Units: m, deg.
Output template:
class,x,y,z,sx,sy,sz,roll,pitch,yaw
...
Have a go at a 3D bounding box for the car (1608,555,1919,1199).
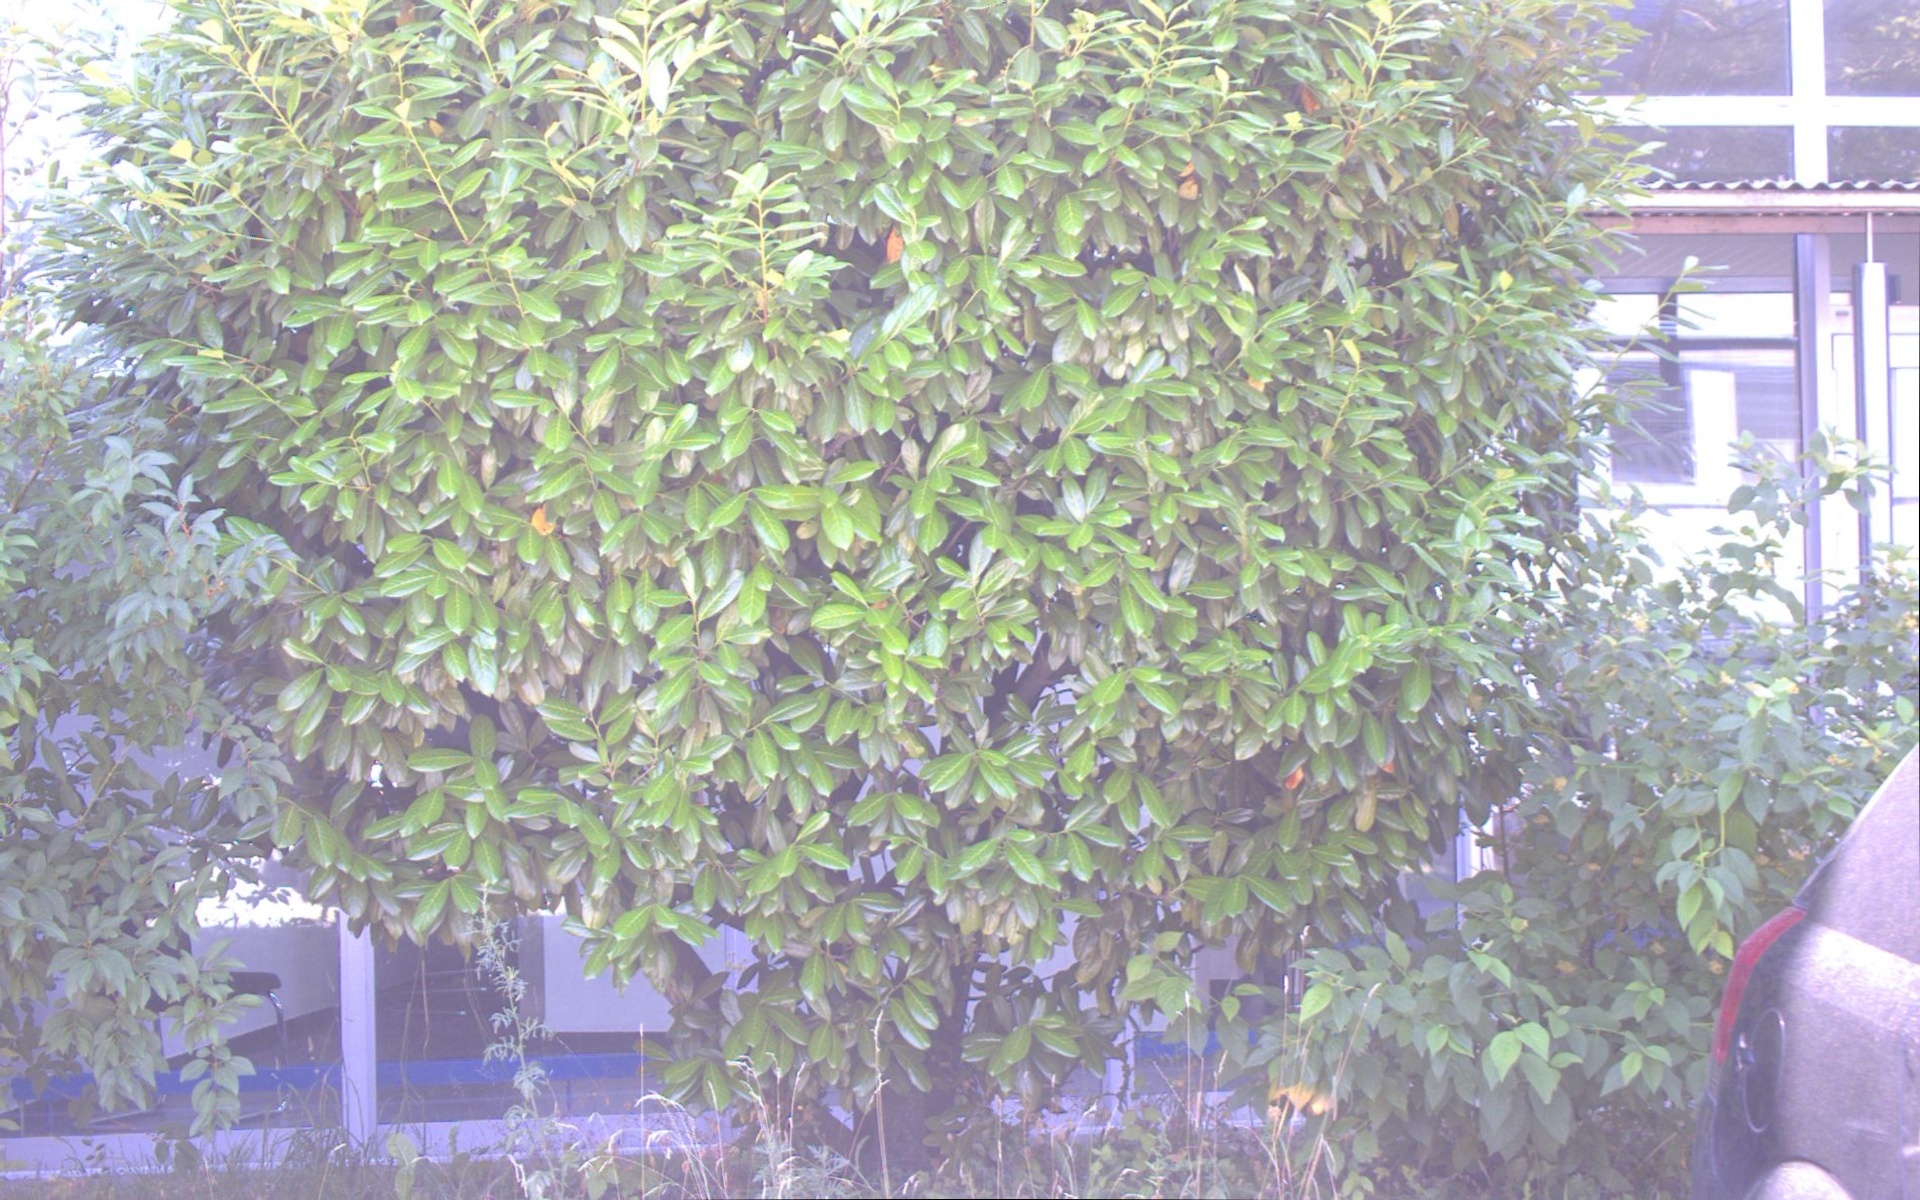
class,x,y,z,sx,sy,sz,roll,pitch,yaw
car,2.063,0.728,2.708,1.757,1.544,4.566,0,0,-7
